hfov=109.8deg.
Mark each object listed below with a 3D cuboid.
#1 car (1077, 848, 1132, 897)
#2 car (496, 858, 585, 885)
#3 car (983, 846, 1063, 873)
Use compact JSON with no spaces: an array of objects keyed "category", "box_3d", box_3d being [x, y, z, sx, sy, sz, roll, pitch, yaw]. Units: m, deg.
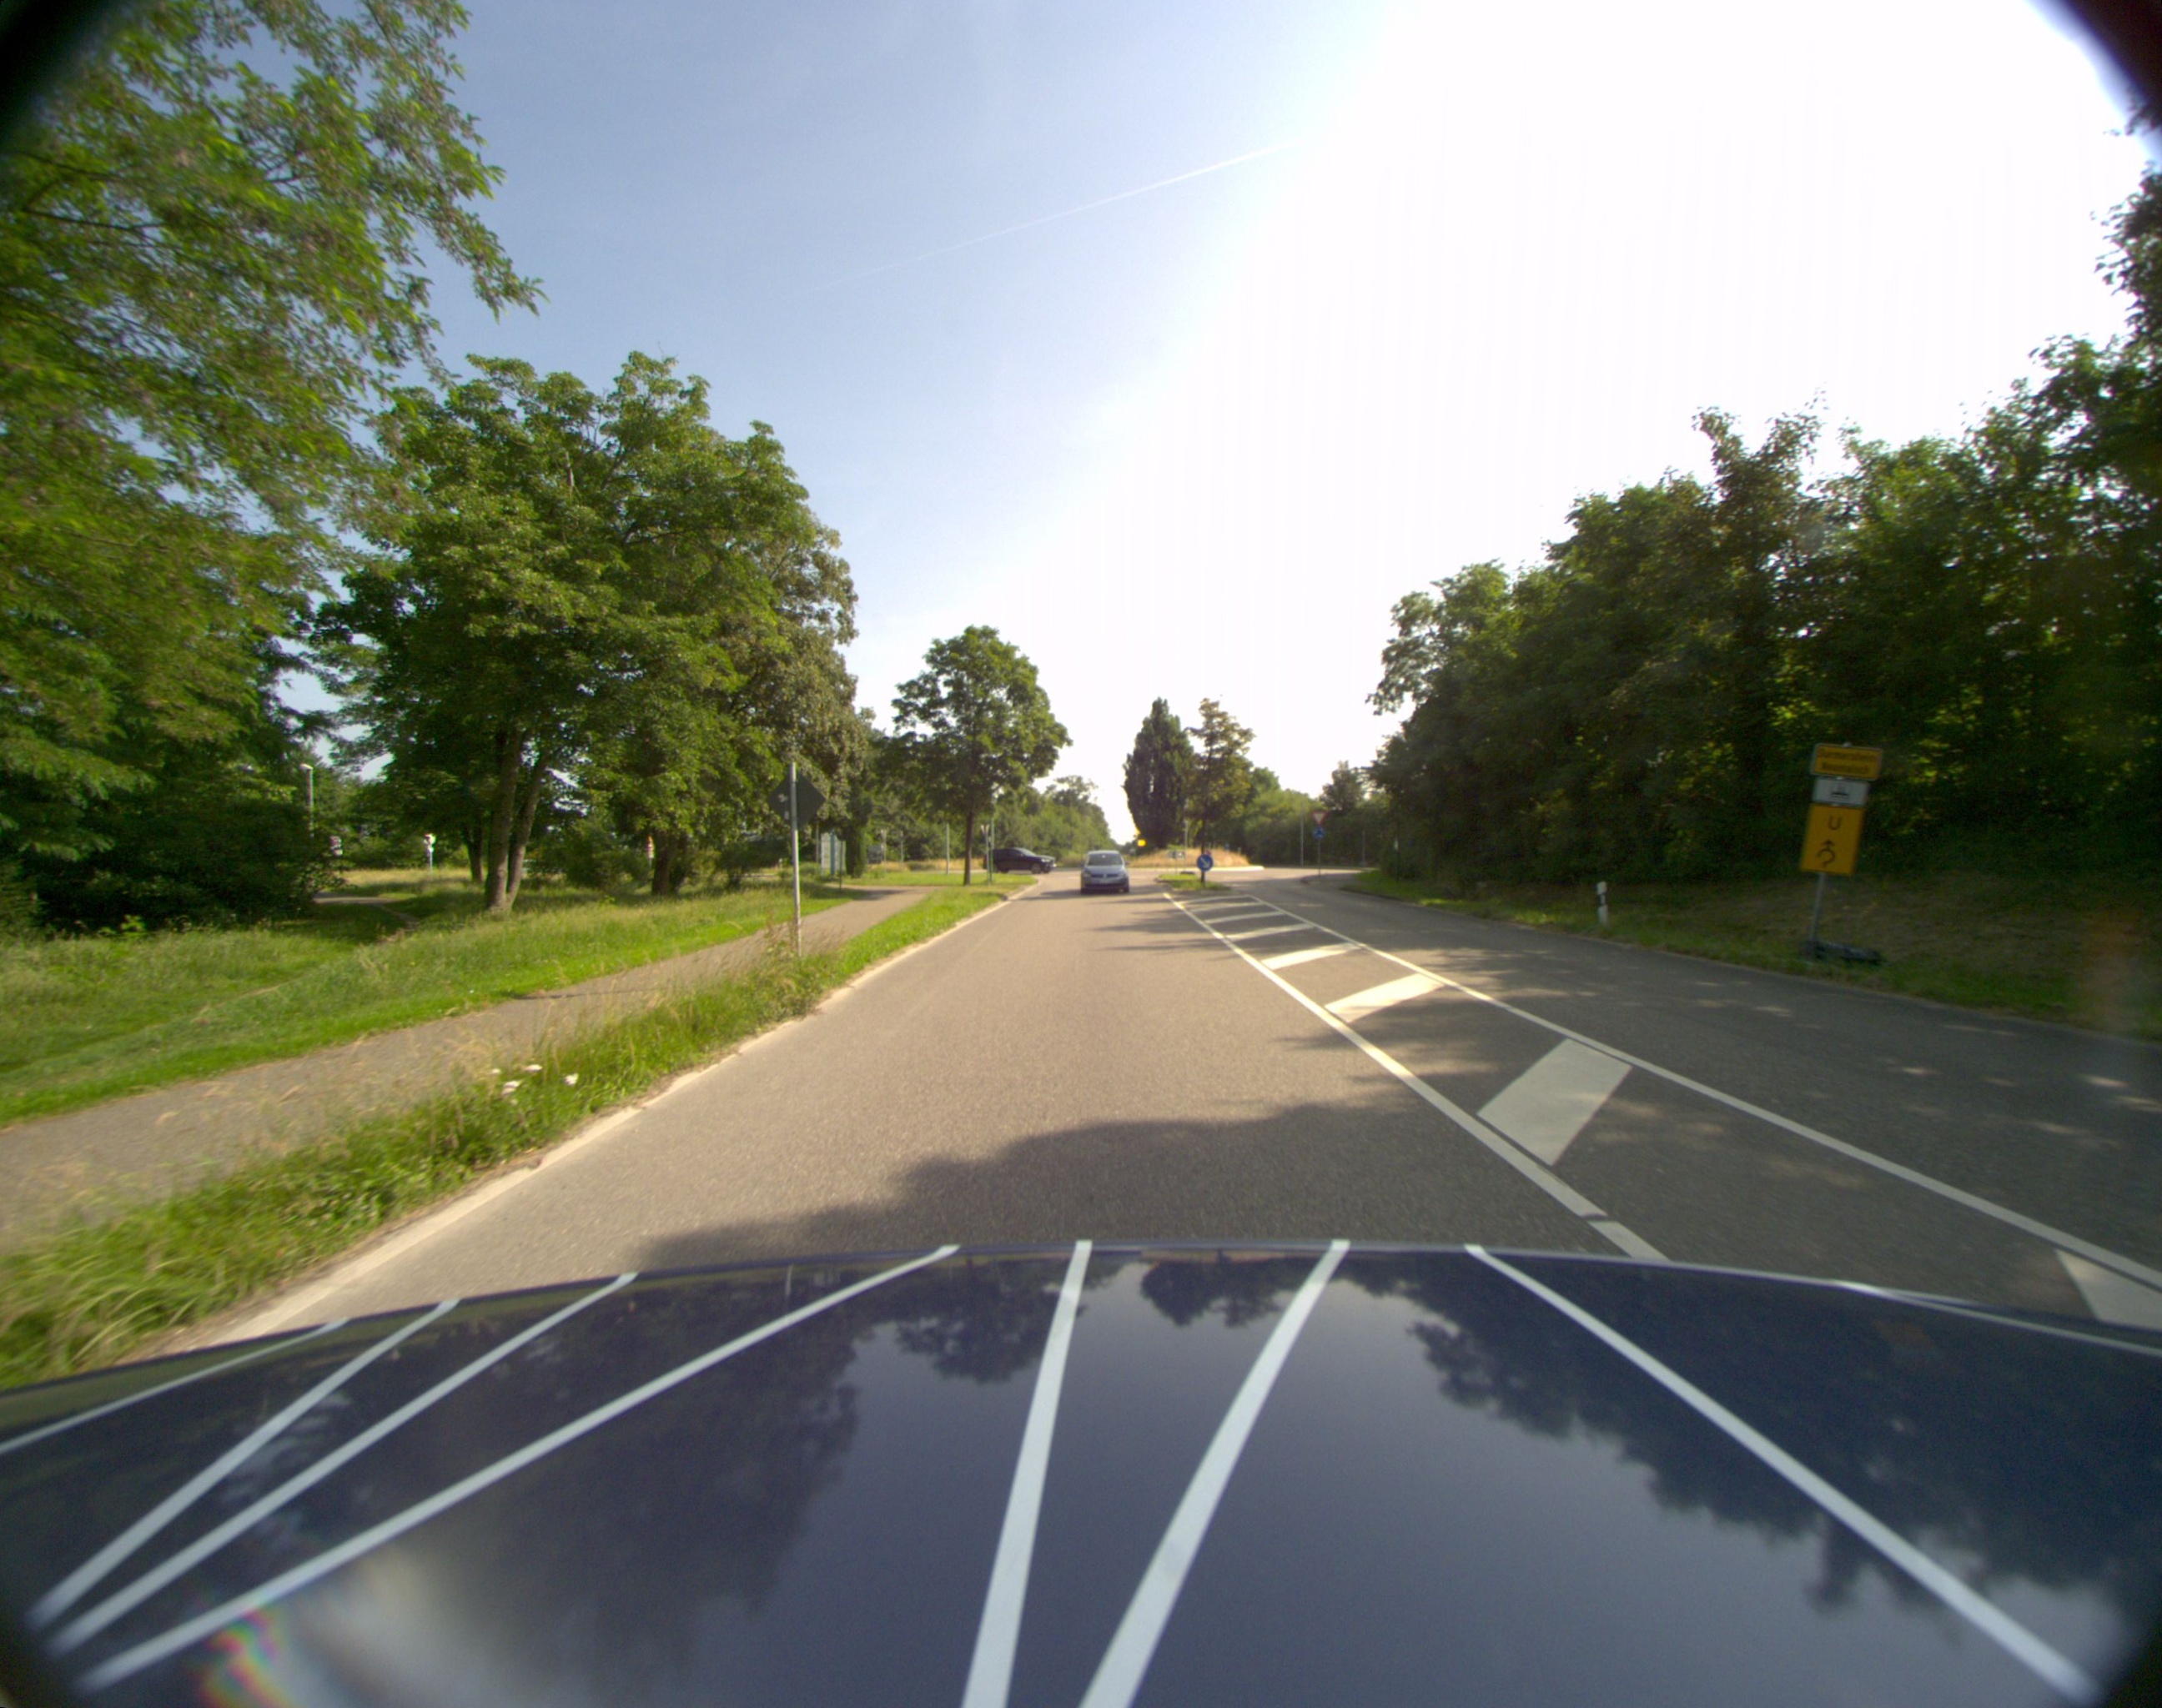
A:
[{"category":"car","box_3d":[0.898,0.606,27.607,1.808,1.592,4.270,-1,1,3]},{"category":"car","box_3d":[-34.101,1.083,48.058,4.136,1.540,1.901,-2,1,-10]},{"category":"car","box_3d":[-3.619,0.351,47.829,4.612,1.592,1.955,-1,1,15]}]
